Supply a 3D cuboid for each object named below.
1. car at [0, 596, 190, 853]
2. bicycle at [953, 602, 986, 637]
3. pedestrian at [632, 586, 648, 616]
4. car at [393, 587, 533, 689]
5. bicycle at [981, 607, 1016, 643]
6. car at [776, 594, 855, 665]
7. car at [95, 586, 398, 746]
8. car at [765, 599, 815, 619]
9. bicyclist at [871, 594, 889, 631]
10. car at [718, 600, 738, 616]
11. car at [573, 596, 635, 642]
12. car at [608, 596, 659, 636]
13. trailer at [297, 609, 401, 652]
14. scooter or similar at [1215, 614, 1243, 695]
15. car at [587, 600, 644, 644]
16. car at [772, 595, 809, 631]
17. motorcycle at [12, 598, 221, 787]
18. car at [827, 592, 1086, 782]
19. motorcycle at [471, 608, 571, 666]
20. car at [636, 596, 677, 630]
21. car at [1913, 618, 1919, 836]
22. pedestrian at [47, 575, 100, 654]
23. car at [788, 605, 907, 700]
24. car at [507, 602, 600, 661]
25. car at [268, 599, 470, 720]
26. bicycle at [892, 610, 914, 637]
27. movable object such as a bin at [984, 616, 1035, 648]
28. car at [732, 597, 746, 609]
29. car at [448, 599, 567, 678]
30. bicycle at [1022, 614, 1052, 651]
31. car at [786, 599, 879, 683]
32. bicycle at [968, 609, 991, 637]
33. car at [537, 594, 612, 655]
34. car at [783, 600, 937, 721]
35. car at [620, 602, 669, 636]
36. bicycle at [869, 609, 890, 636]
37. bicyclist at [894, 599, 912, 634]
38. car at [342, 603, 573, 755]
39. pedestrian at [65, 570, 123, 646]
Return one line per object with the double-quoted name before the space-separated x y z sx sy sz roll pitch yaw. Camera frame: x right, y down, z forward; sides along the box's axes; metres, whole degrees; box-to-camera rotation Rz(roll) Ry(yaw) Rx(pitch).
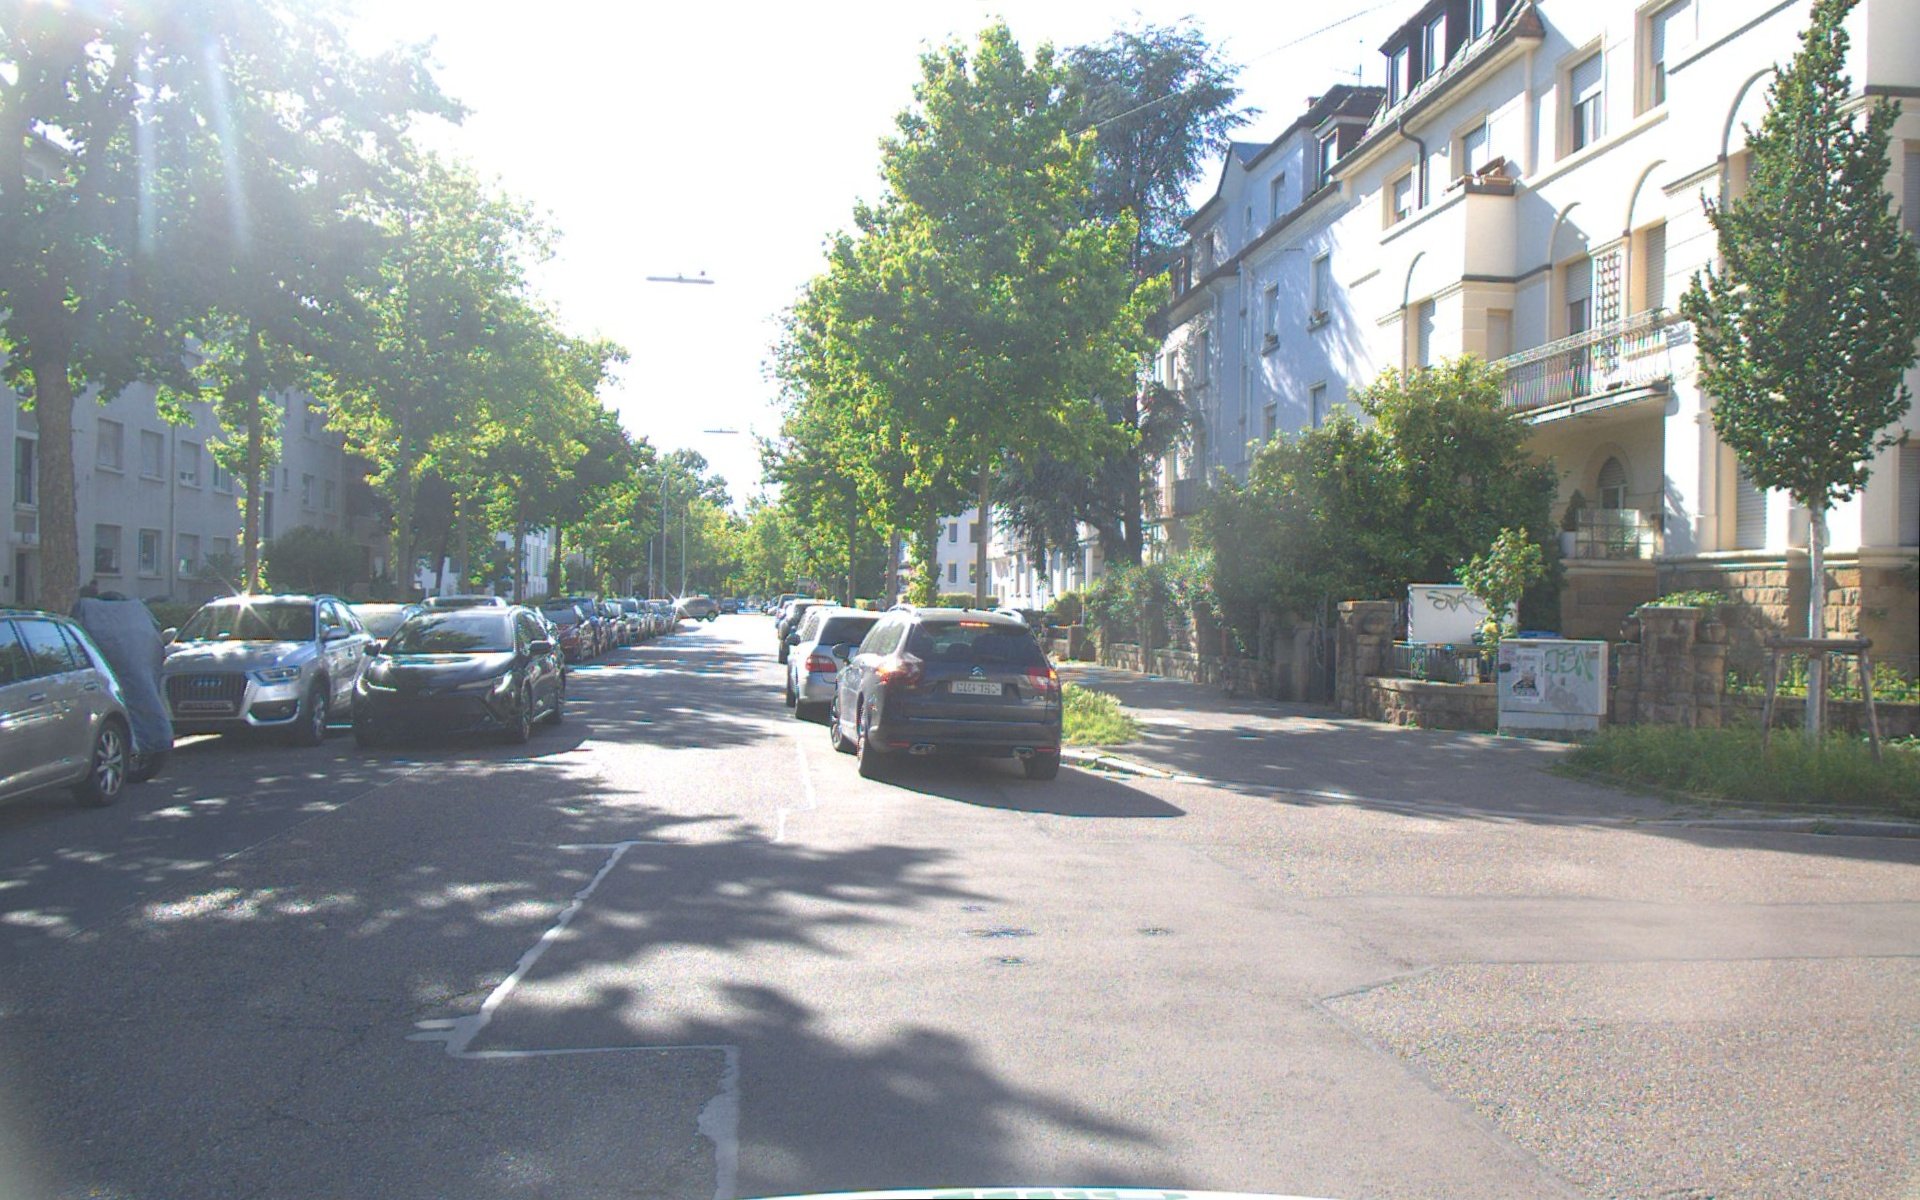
"car" -6.901 0.752 10.744 2.003 1.551 4.600 0 0 -6
"bicycle" 0.334 0.729 61.857 0.823 1.279 2.226 1 0 -10
"pedestrian" -22.077 0.039 114.047 0.841 2.049 0.981 0 0 1
"car" -8.974 0.646 30.186 1.696 1.646 4.359 -3 0 -8
"bicycle" 1.260 0.827 54.980 0.789 1.135 1.995 1 0 -9
"car" -3.842 0.739 44.017 1.888 1.680 5.089 3 0 -5
"car" -7.757 0.640 18.514 2.026 1.551 4.711 1 0 -10
"car" -13.910 0.740 134.950 3.915 1.615 1.722 0 0 -11
"bicyclist" -3.583 0.551 73.948 0.664 1.638 0.919 0 0 -10
"car" -23.206 0.795 165.550 1.751 1.637 3.989 0 0 -11
"car" -12.250 0.631 57.091 1.729 1.469 3.902 -1 0 -7
"car" -13.424 0.639 68.151 1.677 1.571 3.925 -1 0 -6
"trailer" -16.144 0.792 43.841 1.754 1.052 3.278 1 0 -5
"scooter or similar" 4.174 0.827 25.717 0.393 1.205 1.207 0 0 8
"car" -13.003 0.799 62.571 1.777 1.624 4.226 0 0 -7
"car" -9.626 0.712 93.833 1.933 1.983 4.977 1 0 -7
"motorcycle" -7.448 0.749 14.550 2.195 1.530 0.983 0 0 44
"car" -0.217 0.760 16.213 1.860 1.551 4.958 1 -1 -8
"motorcycle" -10.366 0.854 39.036 2.249 1.293 0.804 -1 0 -17
"car" -15.167 0.646 82.809 1.805 1.623 4.255 -1 0 -7
"car" 8.769 0.890 10.193 4.617 1.495 1.954 1 -1 7
"pedestrian" -22.147 0.353 41.309 0.764 1.947 0.879 0 0 20
"car" -2.048 0.842 28.837 1.679 1.435 4.853 2 0 -8
"car" -10.348 0.768 42.352 1.745 1.403 4.256 -1 0 -6
"car" -8.301 0.755 23.663 1.695 1.472 4.813 -2 0 -7
"bicycle" -2.552 1.030 73.896 0.671 1.173 2.397 0 0 -10
"movable object such as a bin" 1.488 0.948 49.554 1.195 0.920 1.665 0 0 14
"car" -30.486 0.419 227.851 1.859 1.588 3.994 0 0 -7
"car" -9.623 0.765 35.479 1.695 1.503 4.612 -3 0 -6
"bicycle" 2.135 0.891 46.106 0.570 0.992 1.901 0 0 -5
"car" -2.720 0.803 34.516 1.623 1.559 3.962 3 0 -8
"bicycle" 0.695 0.830 59.486 0.584 0.974 1.900 0 0 -7
"car" -11.013 0.676 47.488 1.757 1.594 4.455 -2 0 -10
"car" -1.547 0.793 23.879 1.787 1.495 4.900 2 0 -8
"car" -14.601 0.869 76.769 1.956 1.478 4.255 -2 0 -7
"bicycle" -3.603 1.009 74.001 0.671 1.173 2.397 0 0 -10
"bicyclist" -2.541 0.734 73.799 0.664 1.580 1.019 0 0 -10
"car" -5.496 0.784 18.611 1.775 1.471 4.359 -1 0 -8
"pedestrian" -22.124 0.199 42.274 0.914 1.921 1.026 0 0 0
